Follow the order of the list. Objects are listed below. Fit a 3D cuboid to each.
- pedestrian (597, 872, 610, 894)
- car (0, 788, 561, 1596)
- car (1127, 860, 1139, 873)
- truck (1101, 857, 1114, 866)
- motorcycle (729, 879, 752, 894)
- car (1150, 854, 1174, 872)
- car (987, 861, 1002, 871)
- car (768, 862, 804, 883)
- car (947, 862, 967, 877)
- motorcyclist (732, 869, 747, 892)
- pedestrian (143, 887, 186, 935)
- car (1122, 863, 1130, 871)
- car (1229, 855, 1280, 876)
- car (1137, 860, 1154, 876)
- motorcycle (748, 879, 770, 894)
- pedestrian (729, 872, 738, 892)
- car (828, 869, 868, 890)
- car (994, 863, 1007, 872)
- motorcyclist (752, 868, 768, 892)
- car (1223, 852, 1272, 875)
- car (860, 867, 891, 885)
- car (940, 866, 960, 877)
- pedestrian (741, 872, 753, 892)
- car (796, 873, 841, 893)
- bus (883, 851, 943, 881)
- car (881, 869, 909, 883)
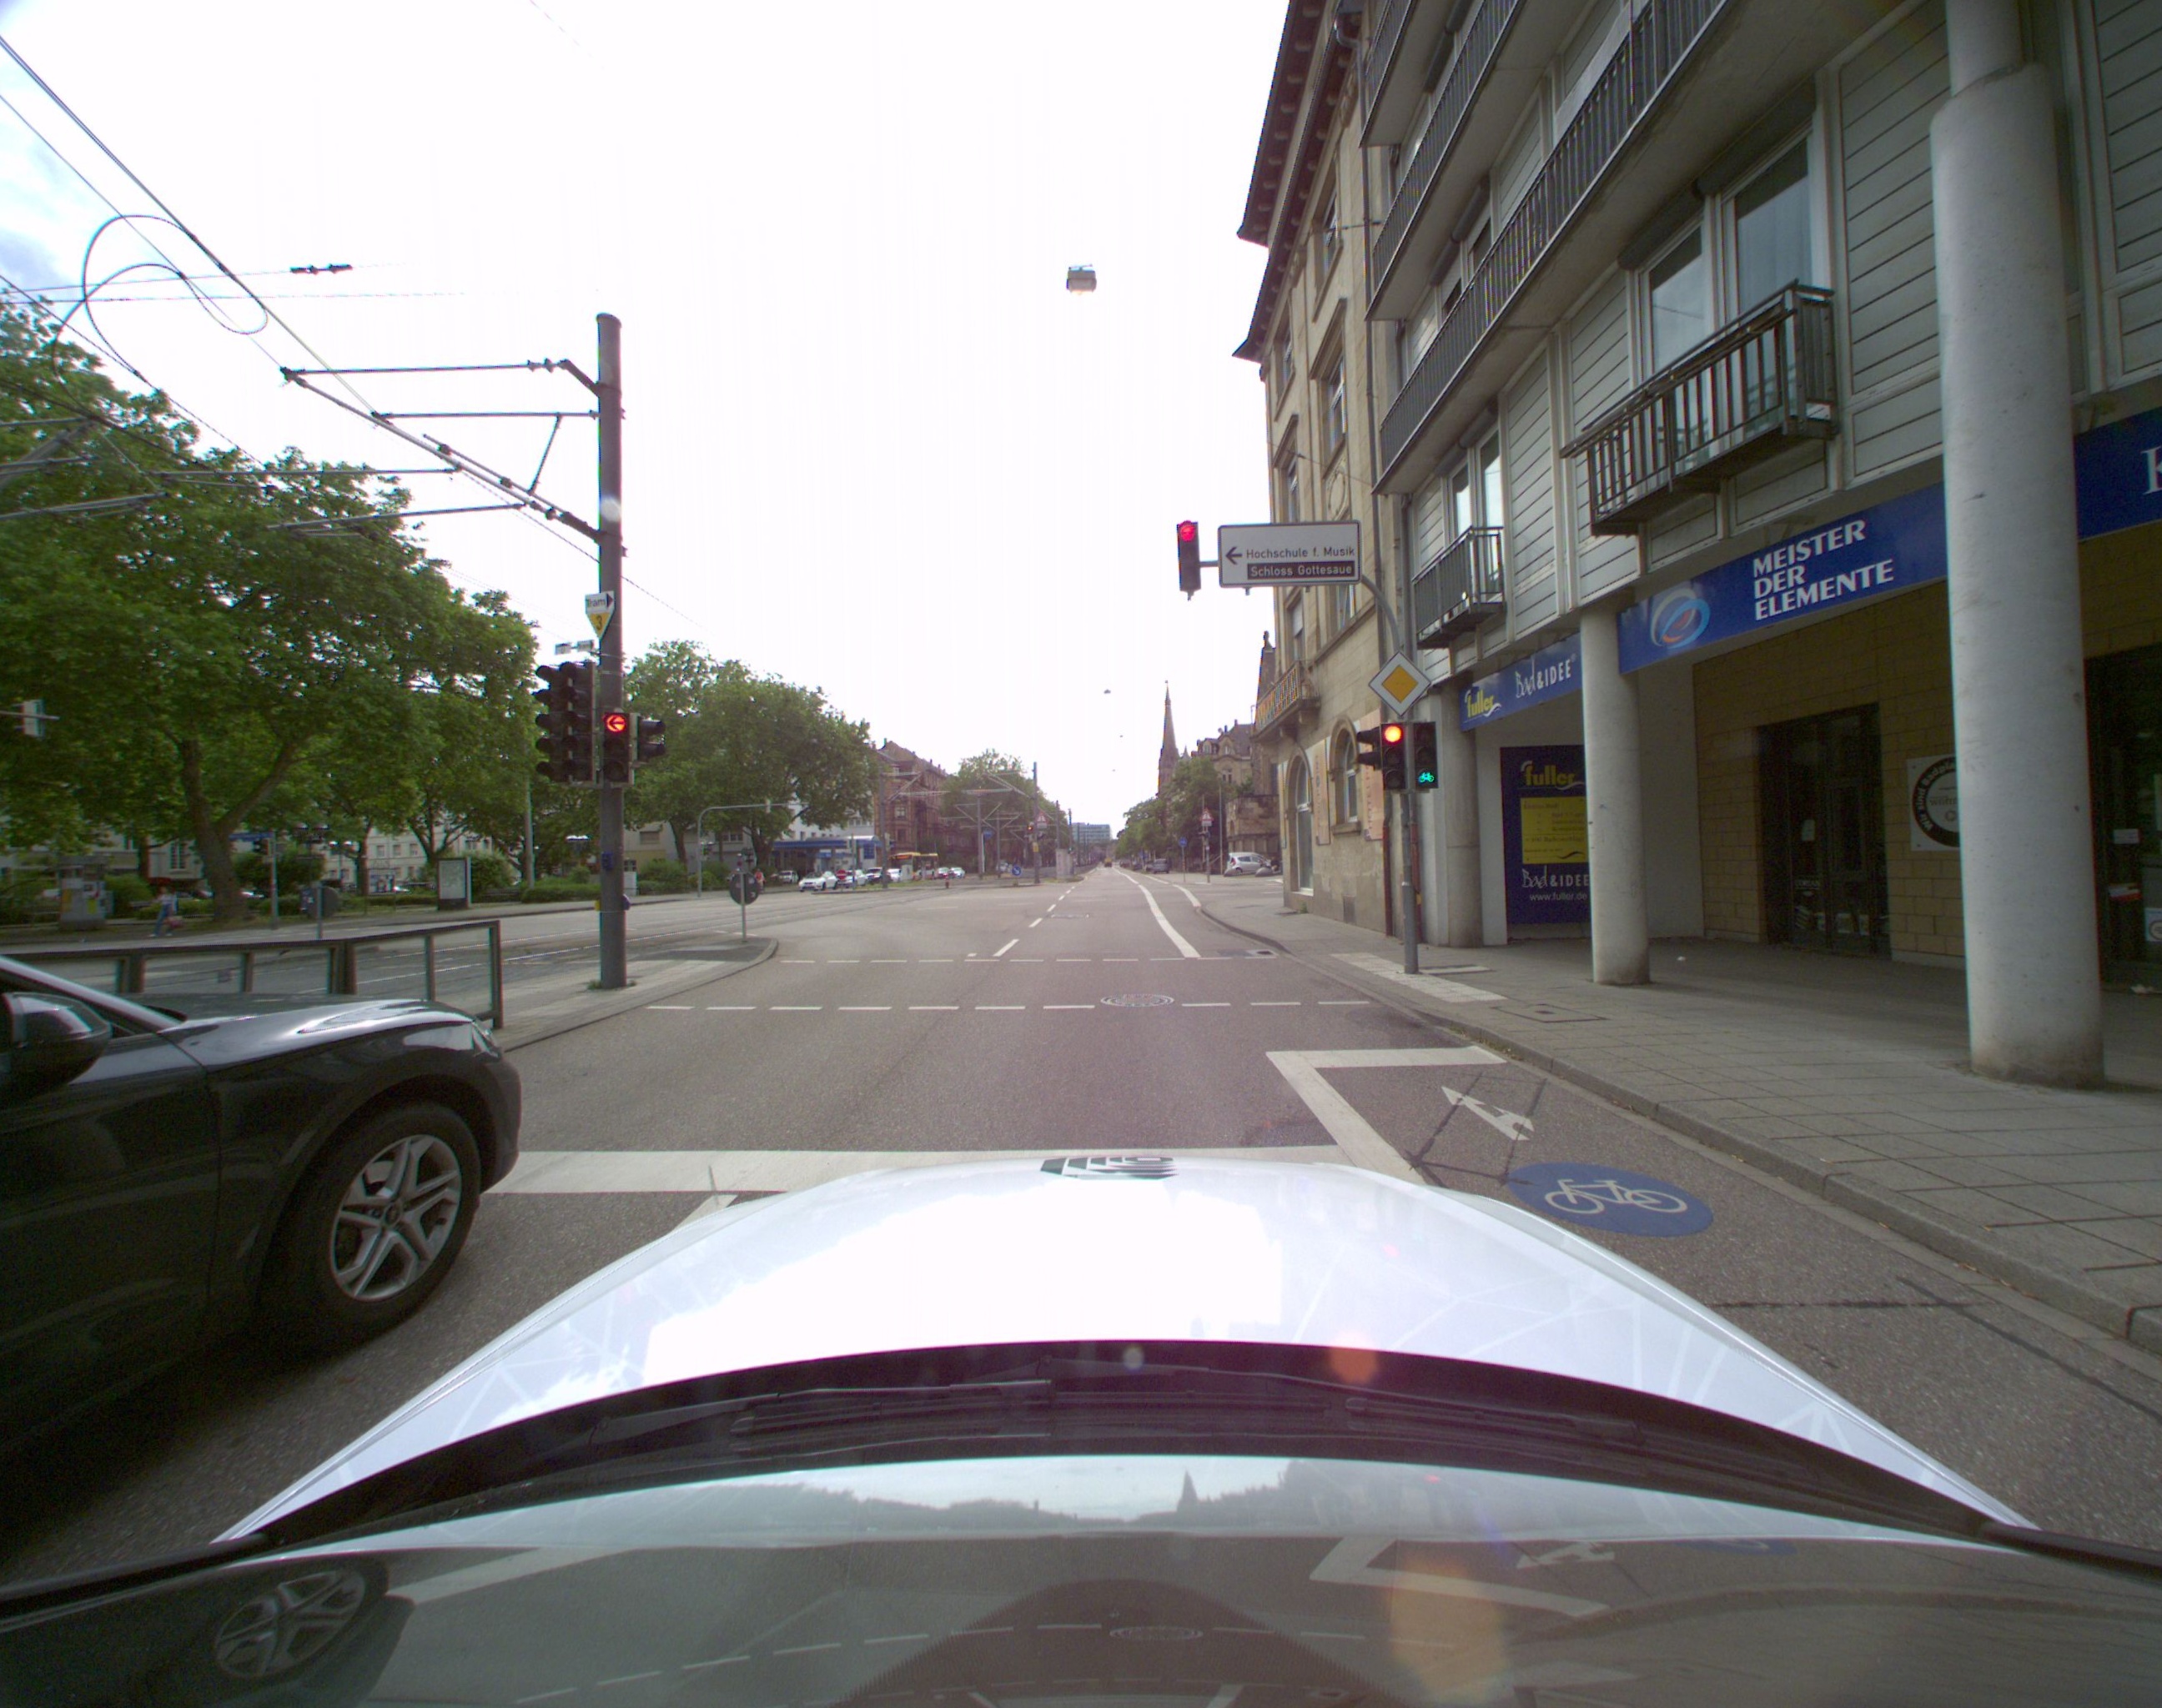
[{"bbox_3d":[-37.550,2.253,64.008,0.596,1.700,0.615,-2,-1,30],"label":"pedestrian"},{"bbox_3d":[-3.071,0.687,1.247,1.727,1.637,4.228,0,-1,2],"label":"car"},{"bbox_3d":[8.701,2.055,136.198,1.986,2.014,4.001,0,-1,2],"label":"car"},{"bbox_3d":[8.257,2.367,250.780,3.040,2.769,9.831,-2,0,6],"label":"truck"},{"bbox_3d":[-22.820,2.182,54.568,0.604,0.928,1.953,-2,-1,2],"label":"motorcycle"},{"bbox_3d":[8.977,0.988,89.968,1.979,1.855,4.042,-1,-1,14],"label":"car"},{"bbox_3d":[-15.045,2.066,142.110,1.986,1.610,4.001,0,-1,2],"label":"car"},{"bbox_3d":[-29.727,1.810,82.221,1.986,2.014,4.001,-2,-1,2],"label":"car"},{"bbox_3d":[-16.744,2.064,110.207,1.986,2.014,4.001,0,-1,2],"label":"car"},{"bbox_3d":[-22.840,1.745,54.459,0.617,1.520,0.874,-2,-1,2],"label":"motorcyclist"},{"bbox_3d":[-30.430,1.880,27.055,0.656,1.510,0.680,-1,-1,-15],"label":"pedestrian"},{"bbox_3d":[11.923,3.370,216.804,1.986,2.014,4.001,0,-1,2],"label":"car"},{"bbox_3d":[13.752,0.907,64.815,3.699,1.563,2.001,0,-1,2],"label":"car"},{"bbox_3d":[7.897,1.698,99.649,1.985,2.014,4.004,0,-1,4],"label":"car"},{"bbox_3d":[-21.577,2.159,54.596,0.604,0.928,1.953,-2,-1,2],"label":"motorcycle"},{"bbox_3d":[-26.186,2.083,61.308,0.474,1.459,0.426,-2,-1,1],"label":"pedestrian"},{"bbox_3d":[-18.842,2.060,66.095,1.986,1.594,4.001,0,-1,2],"label":"car"},{"bbox_3d":[-14.786,2.447,149.919,1.986,1.610,4.001,0,-1,2],"label":"car"},{"bbox_3d":[-21.580,1.744,54.754,0.617,1.520,0.874,-2,-1,2],"label":"motorcyclist"},{"bbox_3d":[13.929,0.789,68.254,3.699,1.855,2.001,0,-1,2],"label":"car"},{"bbox_3d":[-18.327,1.933,72.738,1.649,1.478,3.641,0,-1,3],"label":"car"},{"bbox_3d":[-16.508,2.194,102.814,1.649,1.321,3.641,0,-1,3],"label":"car"},{"bbox_3d":[-25.208,2.083,61.507,0.645,1.479,0.557,-2,-1,1],"label":"pedestrian"},{"bbox_3d":[-19.165,2.080,59.537,1.739,1.321,4.079,0,0,4],"label":"car"},{"bbox_3d":[-18.296,1.303,89.736,3.217,3.035,12.323,0,0,4],"label":"bus"},{"bbox_3d":[-18.155,2.104,79.659,1.649,1.321,3.641,0,-1,3],"label":"car"}]
